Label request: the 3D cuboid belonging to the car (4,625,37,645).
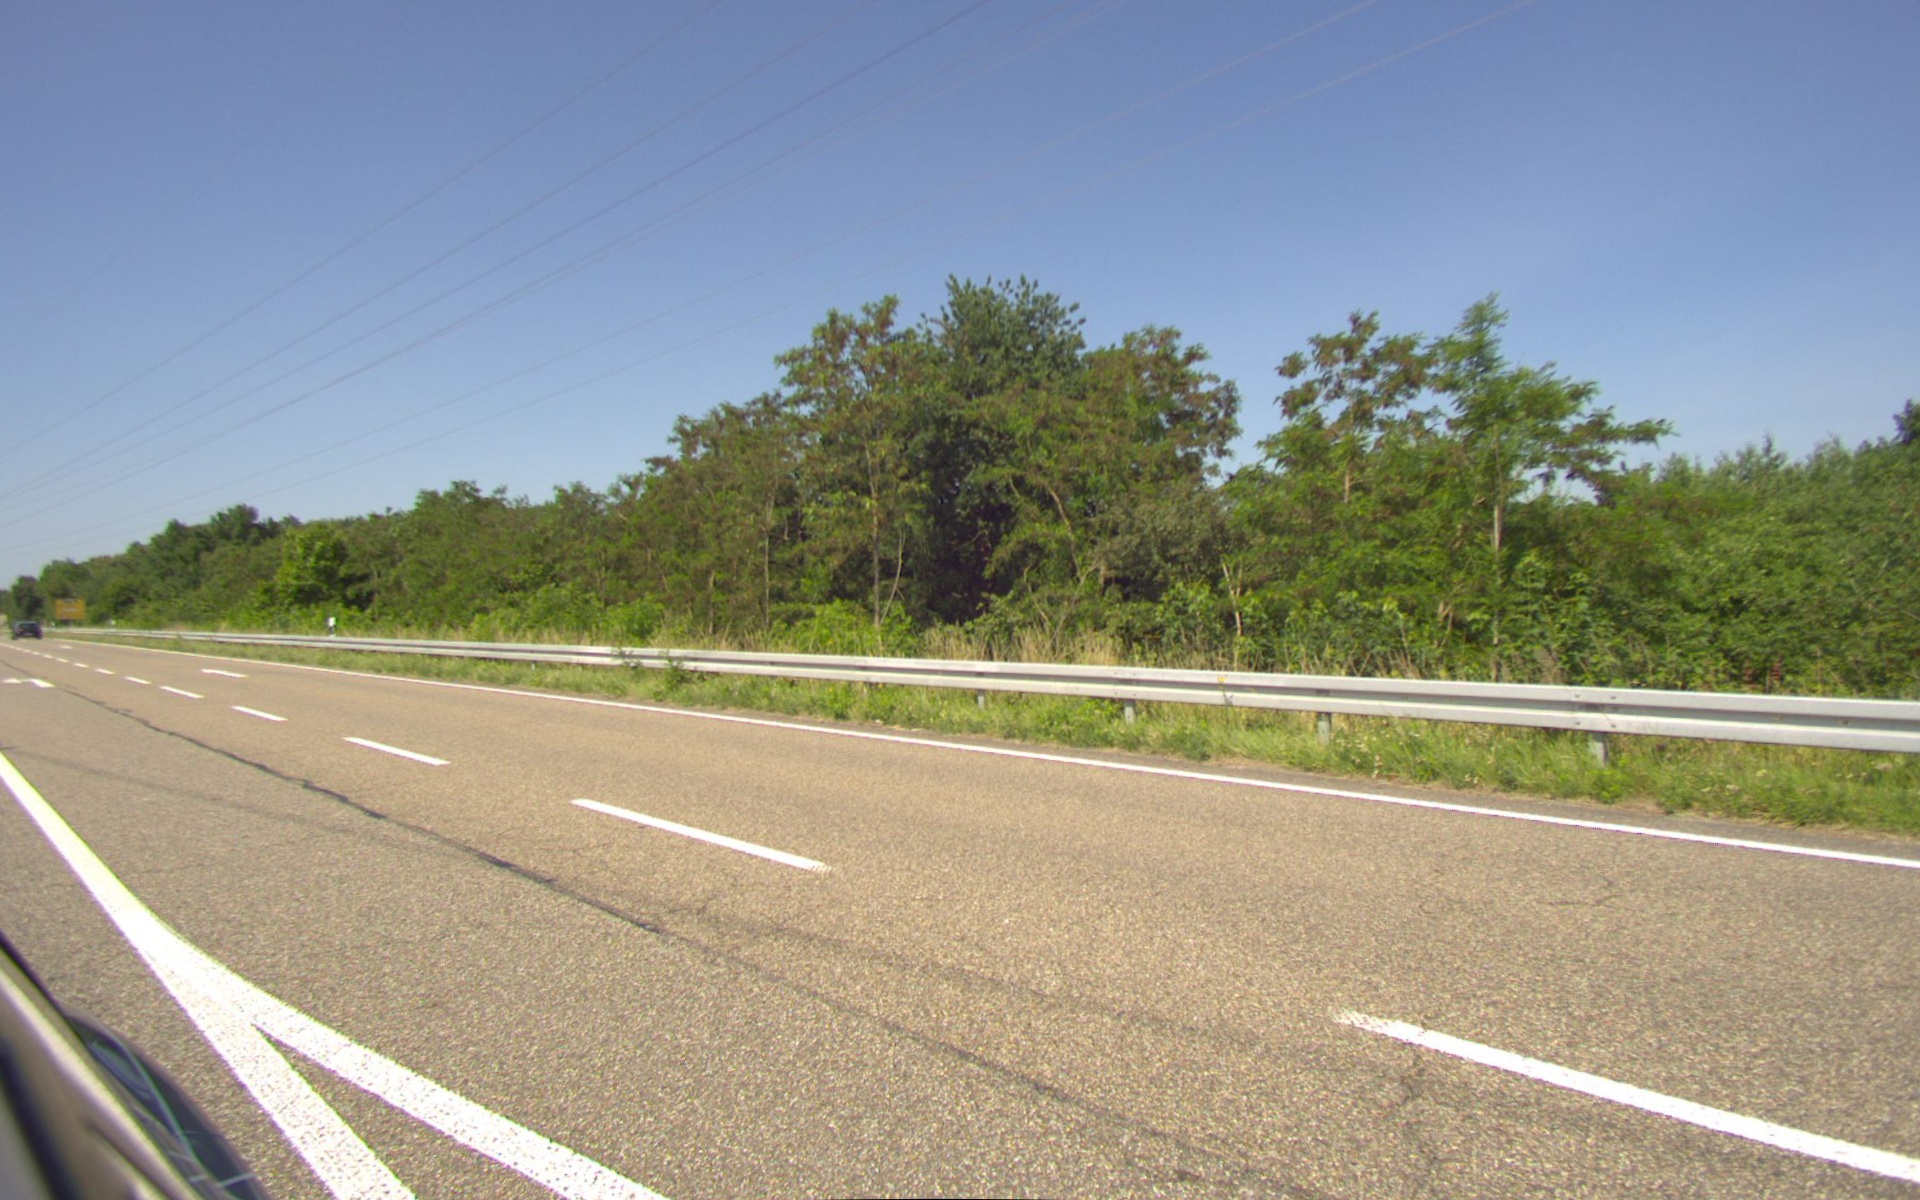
[{"bbox_3d":[-74.351,2.749,80.071,4.214,1.453,1.641,-1,-1,43],"label":"car"}]
